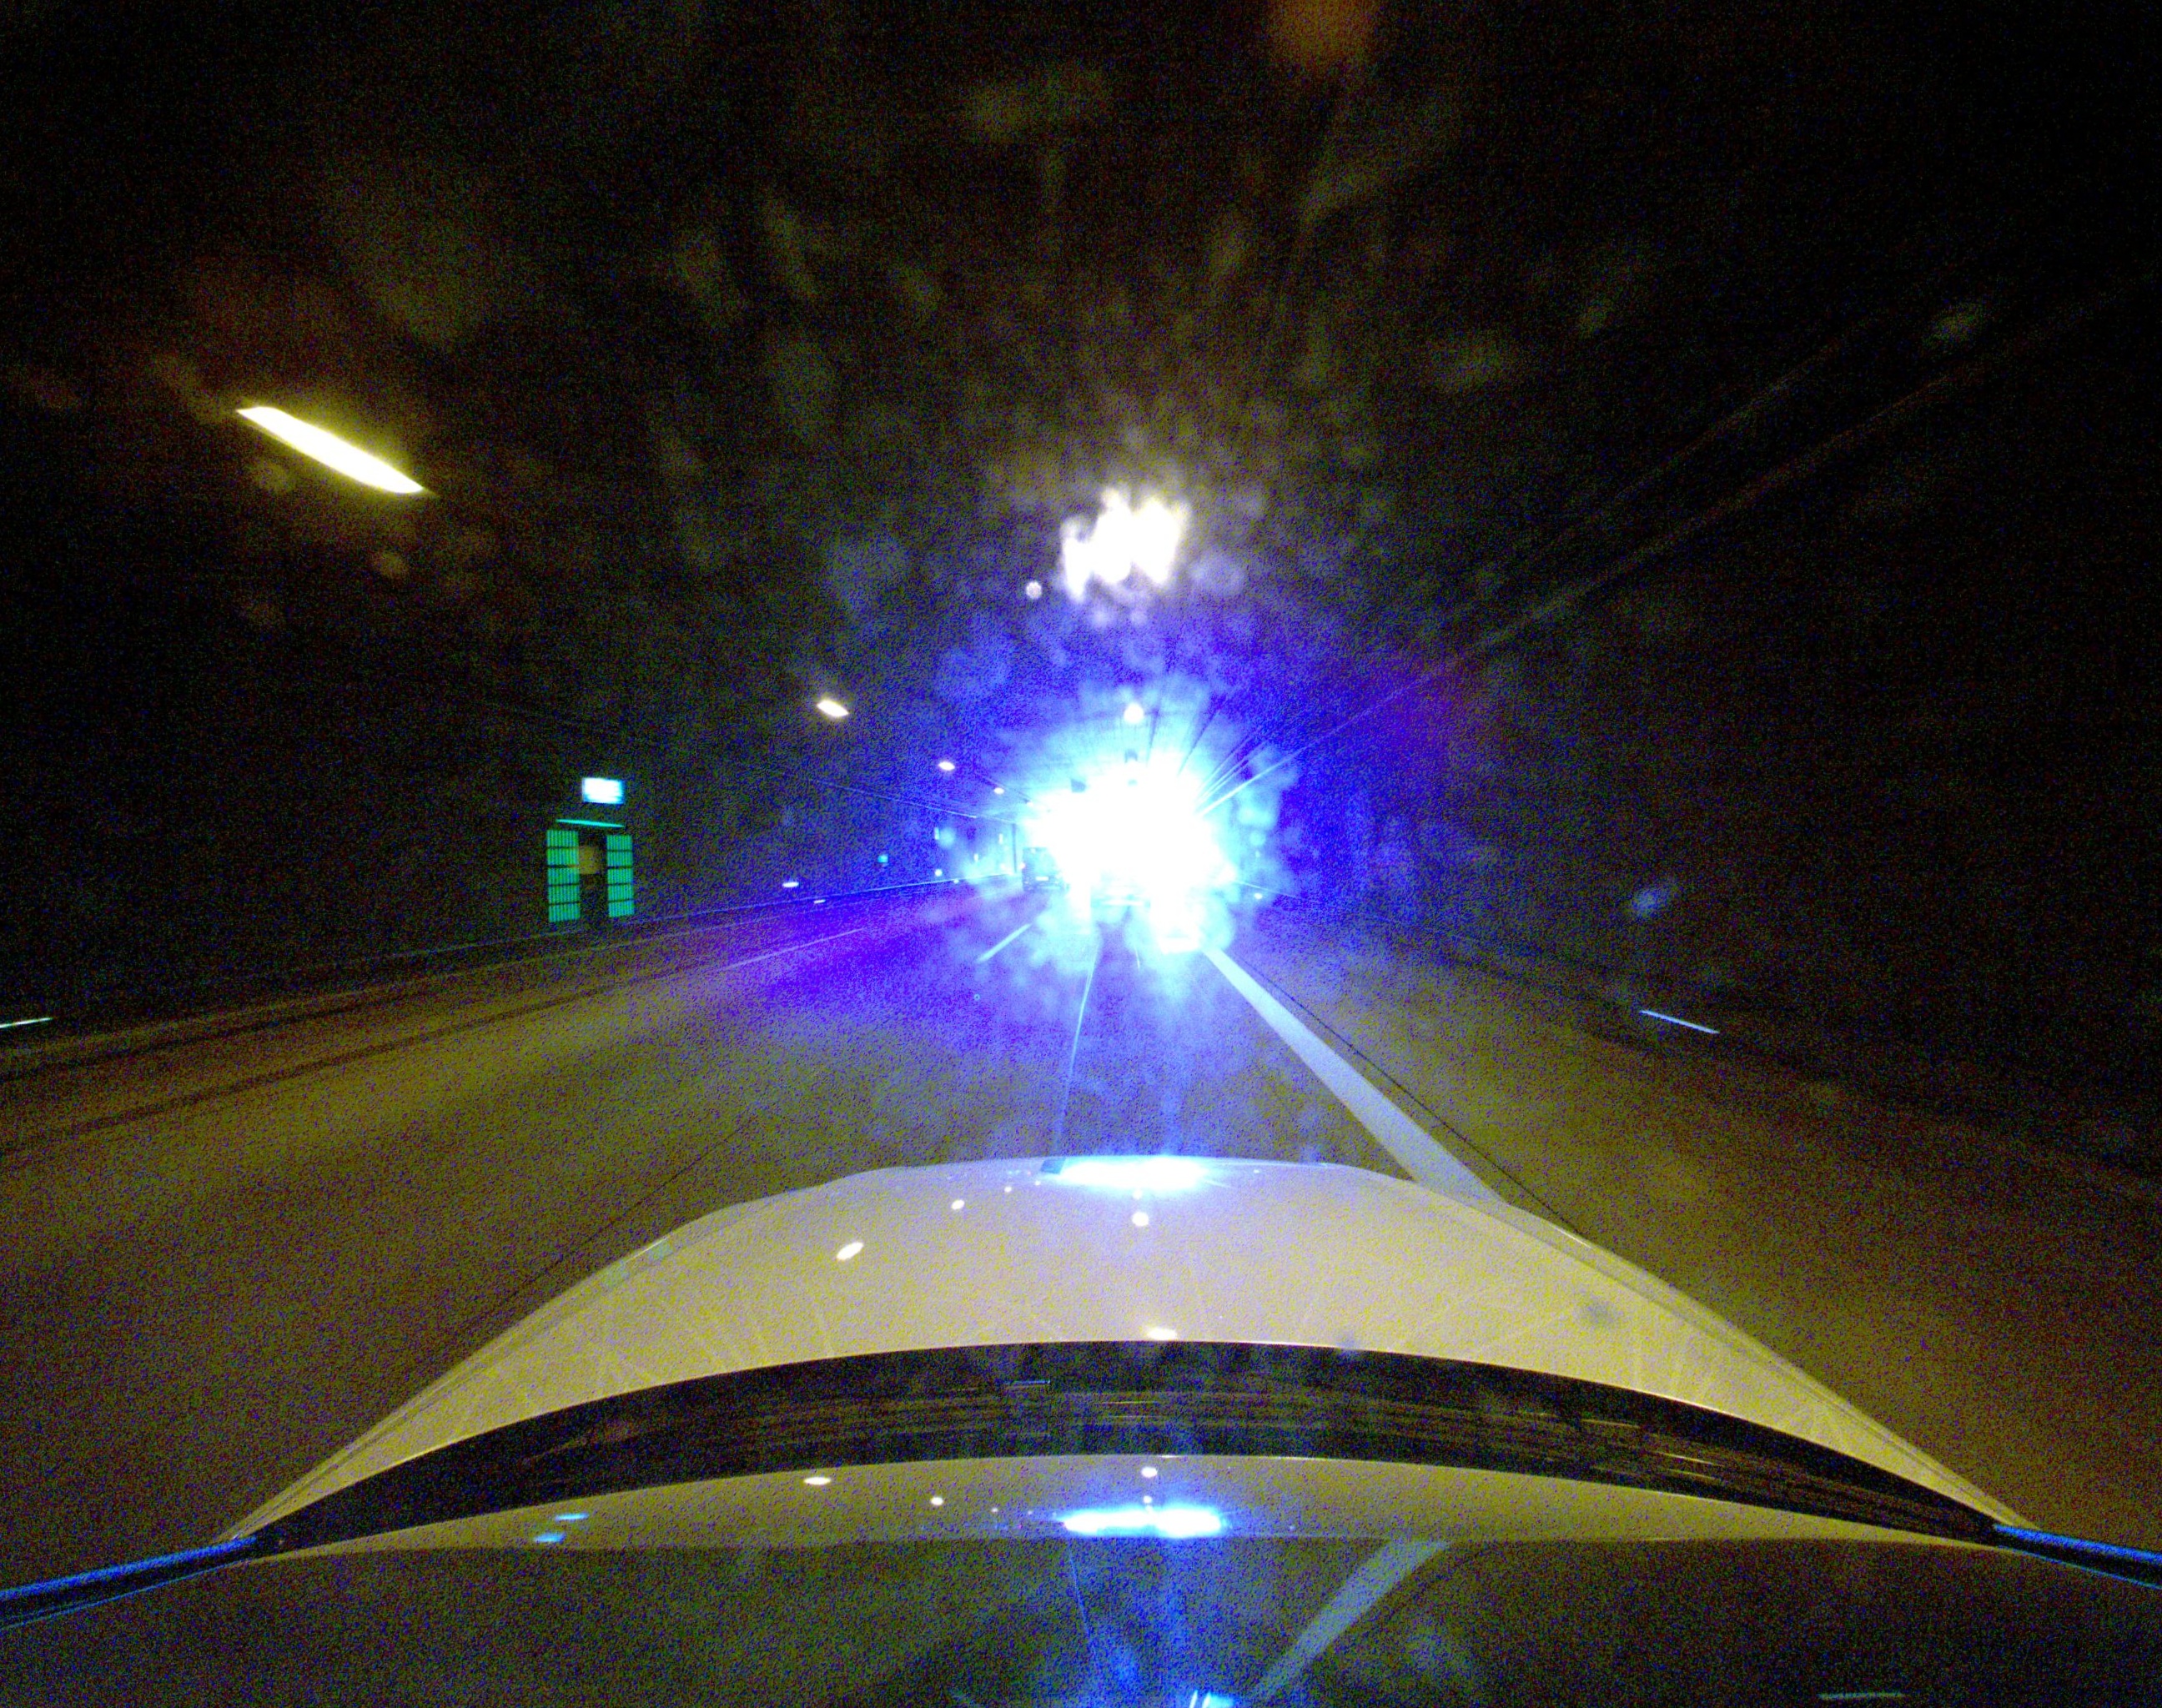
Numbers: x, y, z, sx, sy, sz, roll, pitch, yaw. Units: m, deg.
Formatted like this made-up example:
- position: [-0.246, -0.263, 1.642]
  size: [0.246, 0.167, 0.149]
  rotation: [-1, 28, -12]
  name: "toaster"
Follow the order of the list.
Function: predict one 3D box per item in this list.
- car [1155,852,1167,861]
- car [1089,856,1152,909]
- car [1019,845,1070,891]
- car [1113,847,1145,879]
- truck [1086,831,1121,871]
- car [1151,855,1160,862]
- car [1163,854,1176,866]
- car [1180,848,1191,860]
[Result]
- position: [15.659, 0.535, 159.066]
  size: [1.980, 1.632, 4.012]
  rotation: [-1, -2, 11]
  name: "car"
- position: [1.224, 0.798, 24.770]
  size: [1.735, 1.464, 3.874]
  rotation: [-1, 0, 3]
  name: "car"
- position: [-1.612, 0.613, 36.922]
  size: [1.902, 1.944, 3.874]
  rotation: [-1, 0, 3]
  name: "car"
- position: [3.011, 0.545, 50.351]
  size: [1.848, 1.854, 4.005]
  rotation: [-1, 0, 5]
  name: "car"
- position: [2.213, -0.232, 78.801]
  size: [3.026, 3.673, 7.400]
  rotation: [-1, 0, 4]
  name: "truck"
- position: [18.697, 1.053, 204.959]
  size: [1.918, 1.642, 4.013]
  rotation: [-1, 0, 11]
  name: "car"
- position: [13.557, 0.862, 124.838]
  size: [1.920, 1.643, 4.007]
  rotation: [-2, -3, 7]
  name: "car"
- position: [19.789, -0.030, 153.989]
  size: [1.981, 2.014, 4.010]
  rotation: [-2, -3, 9]
  name: "car"
